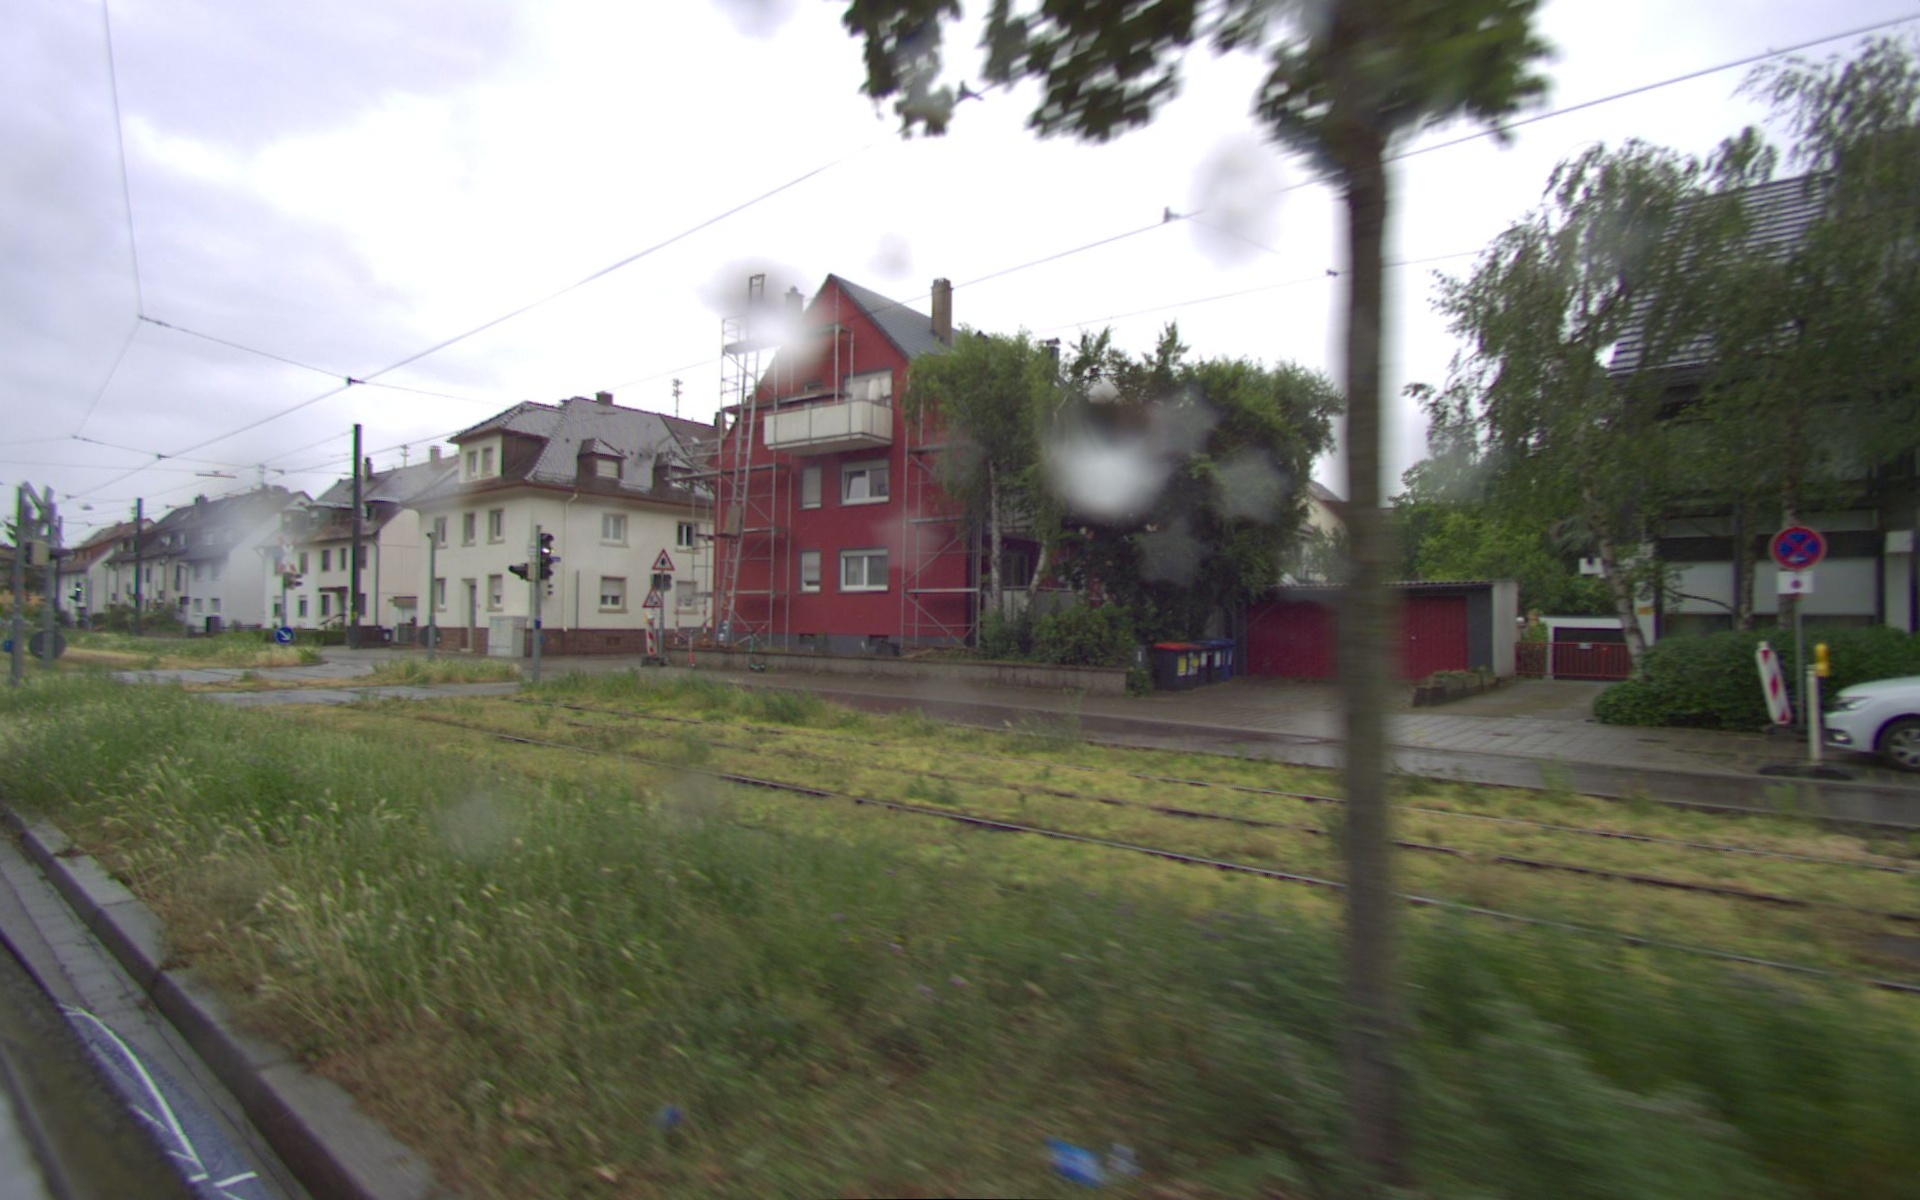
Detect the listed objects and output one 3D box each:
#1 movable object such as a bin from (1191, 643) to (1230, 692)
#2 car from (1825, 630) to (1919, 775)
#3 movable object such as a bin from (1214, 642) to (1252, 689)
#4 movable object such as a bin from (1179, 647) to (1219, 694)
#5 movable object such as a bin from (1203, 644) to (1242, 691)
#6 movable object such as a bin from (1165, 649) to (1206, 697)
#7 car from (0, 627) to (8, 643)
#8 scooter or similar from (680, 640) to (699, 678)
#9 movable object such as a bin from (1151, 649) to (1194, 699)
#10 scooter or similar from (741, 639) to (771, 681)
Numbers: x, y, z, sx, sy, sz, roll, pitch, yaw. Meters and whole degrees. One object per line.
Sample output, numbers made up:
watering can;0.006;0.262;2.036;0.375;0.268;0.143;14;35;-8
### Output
movable object such as a bin;6.095;1.634;24.604;0.757;1.147;0.554;-2;-3;42
car;12.256;1.130;10.865;4.422;1.554;1.691;-2;0;43
movable object such as a bin;6.884;1.639;25.537;0.757;1.147;0.554;-2;-3;42
movable object such as a bin;5.687;1.670;24.088;0.757;1.090;0.554;-2;-3;42
movable object such as a bin;6.507;1.660;25.099;0.757;1.147;0.554;-2;-3;42
movable object such as a bin;5.264;1.684;23.611;0.757;1.090;0.554;-2;-3;42
car;-95.500;3.446;99.633;4.750;1.543;1.868;-1;-4;38
scooter or similar;-8.365;1.823;31.271;0.434;1.138;1.287;1;-2;-19
movable object such as a bin;4.857;1.674;23.135;0.757;1.099;0.637;-1;-3;41
scooter or similar;-5.972;1.743;29.607;0.388;1.189;1.286;2;-2;-34
